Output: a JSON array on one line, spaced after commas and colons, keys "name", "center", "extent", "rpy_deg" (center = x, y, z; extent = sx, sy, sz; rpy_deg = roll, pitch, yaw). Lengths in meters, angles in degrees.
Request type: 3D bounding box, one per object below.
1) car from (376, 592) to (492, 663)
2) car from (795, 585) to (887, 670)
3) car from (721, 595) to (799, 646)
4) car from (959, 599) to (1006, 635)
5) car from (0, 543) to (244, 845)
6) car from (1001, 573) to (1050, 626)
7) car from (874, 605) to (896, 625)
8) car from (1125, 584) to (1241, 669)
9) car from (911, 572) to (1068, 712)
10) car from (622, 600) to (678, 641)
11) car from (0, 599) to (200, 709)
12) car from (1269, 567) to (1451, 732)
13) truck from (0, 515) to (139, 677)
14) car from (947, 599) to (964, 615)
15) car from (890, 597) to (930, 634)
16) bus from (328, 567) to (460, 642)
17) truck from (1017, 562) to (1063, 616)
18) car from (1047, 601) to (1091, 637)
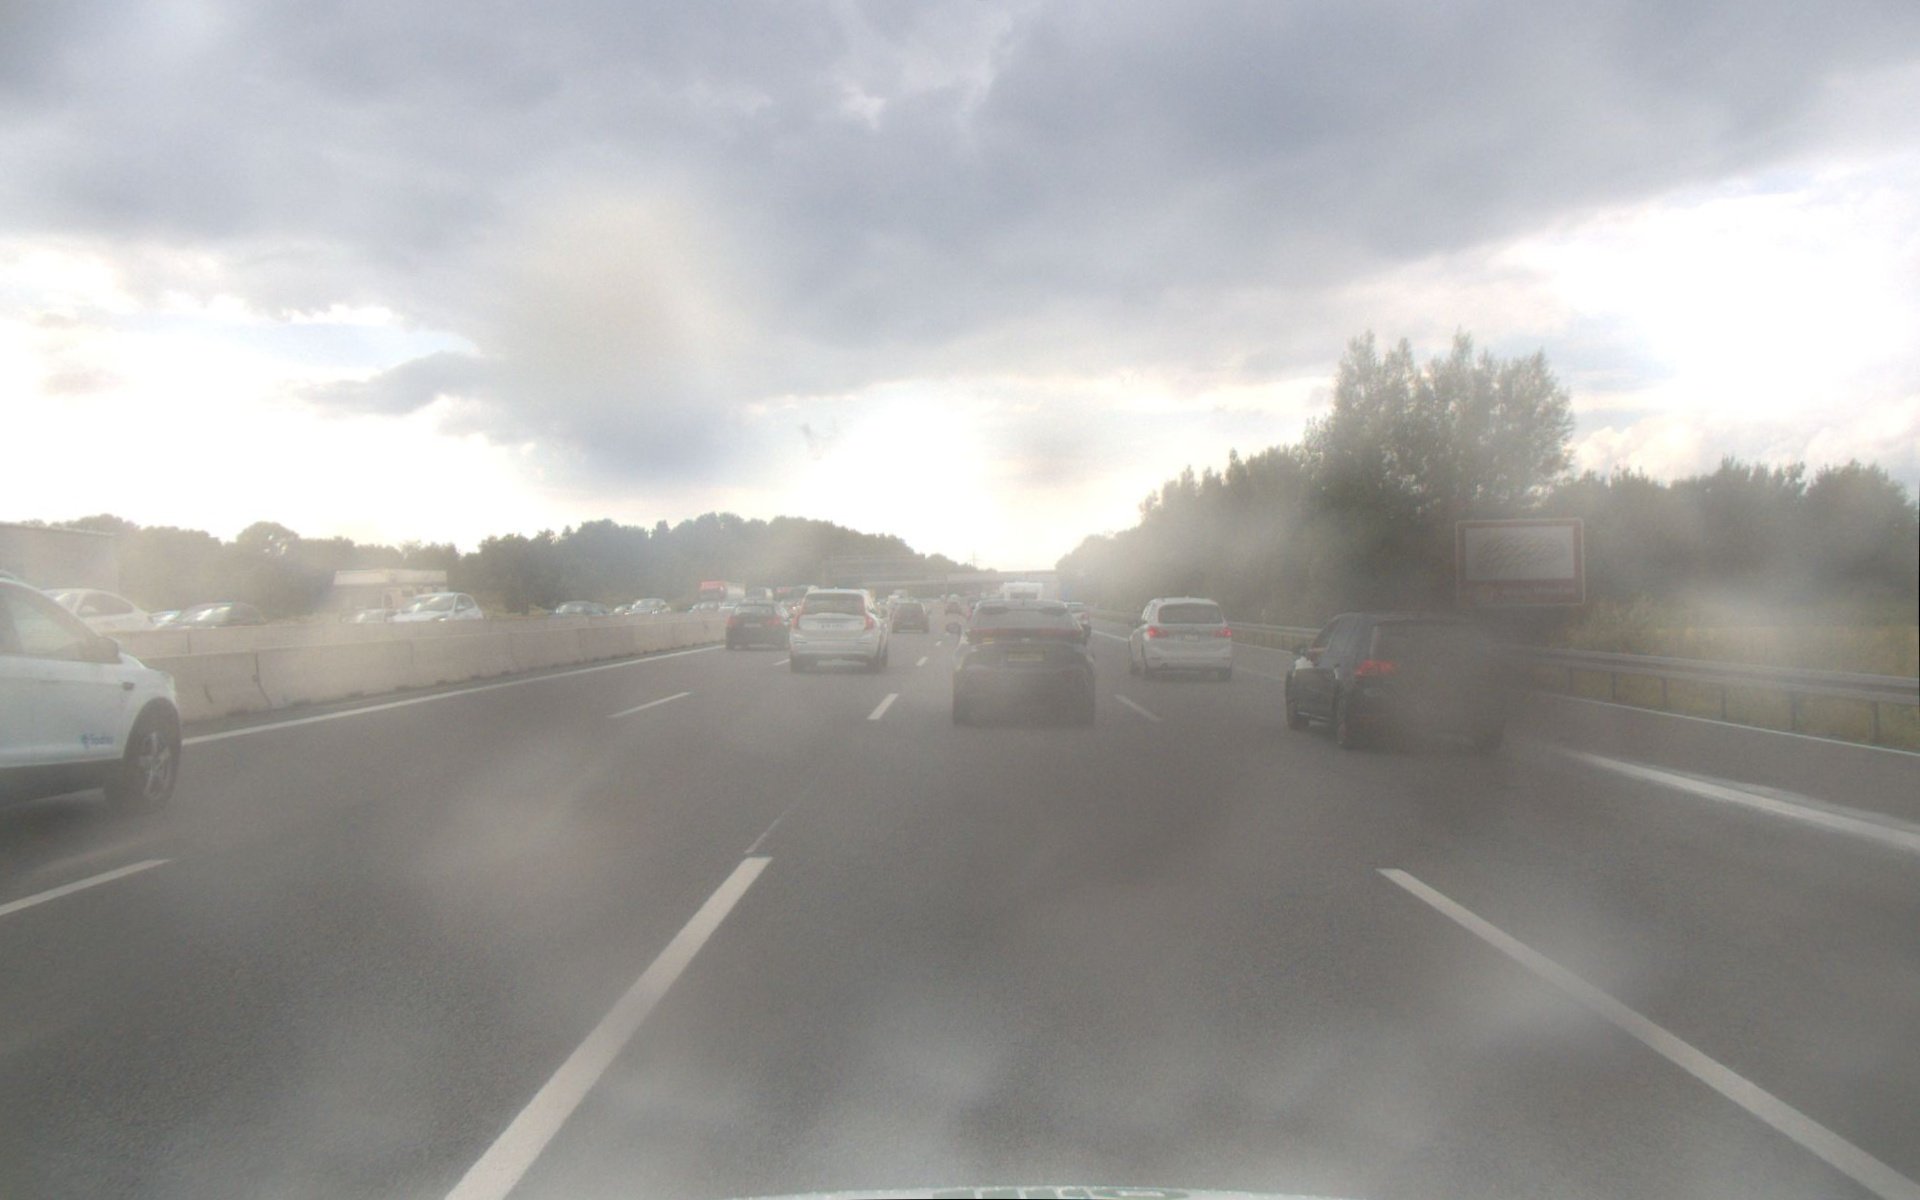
[{"name": "car", "center": [-15.857, 0.806, 50.128], "extent": [1.952, 2.049, 4.763], "rpy_deg": [0, 0, 1]}, {"name": "car", "center": [-2.553, 0.575, 36.401], "extent": [1.744, 1.746, 4.352], "rpy_deg": [0, 0, 0]}, {"name": "car", "center": [-6.187, 0.619, 51.594], "extent": [1.744, 1.507, 4.354], "rpy_deg": [0, 0, 2]}, {"name": "car", "center": [0.936, 0.680, 68.111], "extent": [1.846, 1.431, 4.283], "rpy_deg": [0, 0, 1]}, {"name": "car", "center": [-6.360, 0.543, 10.141], "extent": [1.778, 1.719, 4.852], "rpy_deg": [-1, 0, 0]}, {"name": "car", "center": [3.750, -0.023, 96.283], "extent": [2.514, 2.946, 7.533], "rpy_deg": [0, 0, 0]}, {"name": "car", "center": [-5.754, 1.166, 126.676], "extent": [1.531, 1.503, 3.919], "rpy_deg": [0, 0, 0]}, {"name": "car", "center": [4.515, 0.506, 34.097], "extent": [1.773, 1.627, 4.695], "rpy_deg": [0, 0, 0]}, {"name": "car", "center": [0.282, 0.493, 21.772], "extent": [1.745, 1.641, 4.595], "rpy_deg": [0, 0, -3]}, {"name": "car", "center": [-15.962, 1.053, 85.414], "extent": [1.953, 2.049, 5.181], "rpy_deg": [0, 0, 0]}, {"name": "car", "center": [-16.612, 0.948, 31.416], "extent": [1.952, 1.885, 5.078], "rpy_deg": [-1, 0, 0]}, {"name": "car", "center": [4.461, 0.499, 18.971], "extent": [1.670, 1.659, 4.460], "rpy_deg": [0, 0, 9]}, {"name": "truck", "center": [-27.569, -0.097, 45.373], "extent": [3.083, 4.388, 13.951], "rpy_deg": [0, 0, 0]}, {"name": "car", "center": [-0.482, 0.705, 176.414], "extent": [1.843, 1.715, 3.999], "rpy_deg": [0, 0, -1]}, {"name": "car", "center": [-2.364, 0.716, 79.286], "extent": [1.843, 1.715, 3.999], "rpy_deg": [0, 0, -1]}, {"name": "bus", "center": [-27.201, 0.197, 80.062], "extent": [2.773, 3.391, 9.965], "rpy_deg": [0, 0, 1]}, {"name": "truck", "center": [5.719, -0.765, 120.319], "extent": [3.068, 3.774, 9.848], "rpy_deg": [0, 0, 1]}, {"name": "car", "center": [4.718, 0.810, 71.908], "extent": [1.758, 1.503, 4.038], "rpy_deg": [0, 0, 1]}]
